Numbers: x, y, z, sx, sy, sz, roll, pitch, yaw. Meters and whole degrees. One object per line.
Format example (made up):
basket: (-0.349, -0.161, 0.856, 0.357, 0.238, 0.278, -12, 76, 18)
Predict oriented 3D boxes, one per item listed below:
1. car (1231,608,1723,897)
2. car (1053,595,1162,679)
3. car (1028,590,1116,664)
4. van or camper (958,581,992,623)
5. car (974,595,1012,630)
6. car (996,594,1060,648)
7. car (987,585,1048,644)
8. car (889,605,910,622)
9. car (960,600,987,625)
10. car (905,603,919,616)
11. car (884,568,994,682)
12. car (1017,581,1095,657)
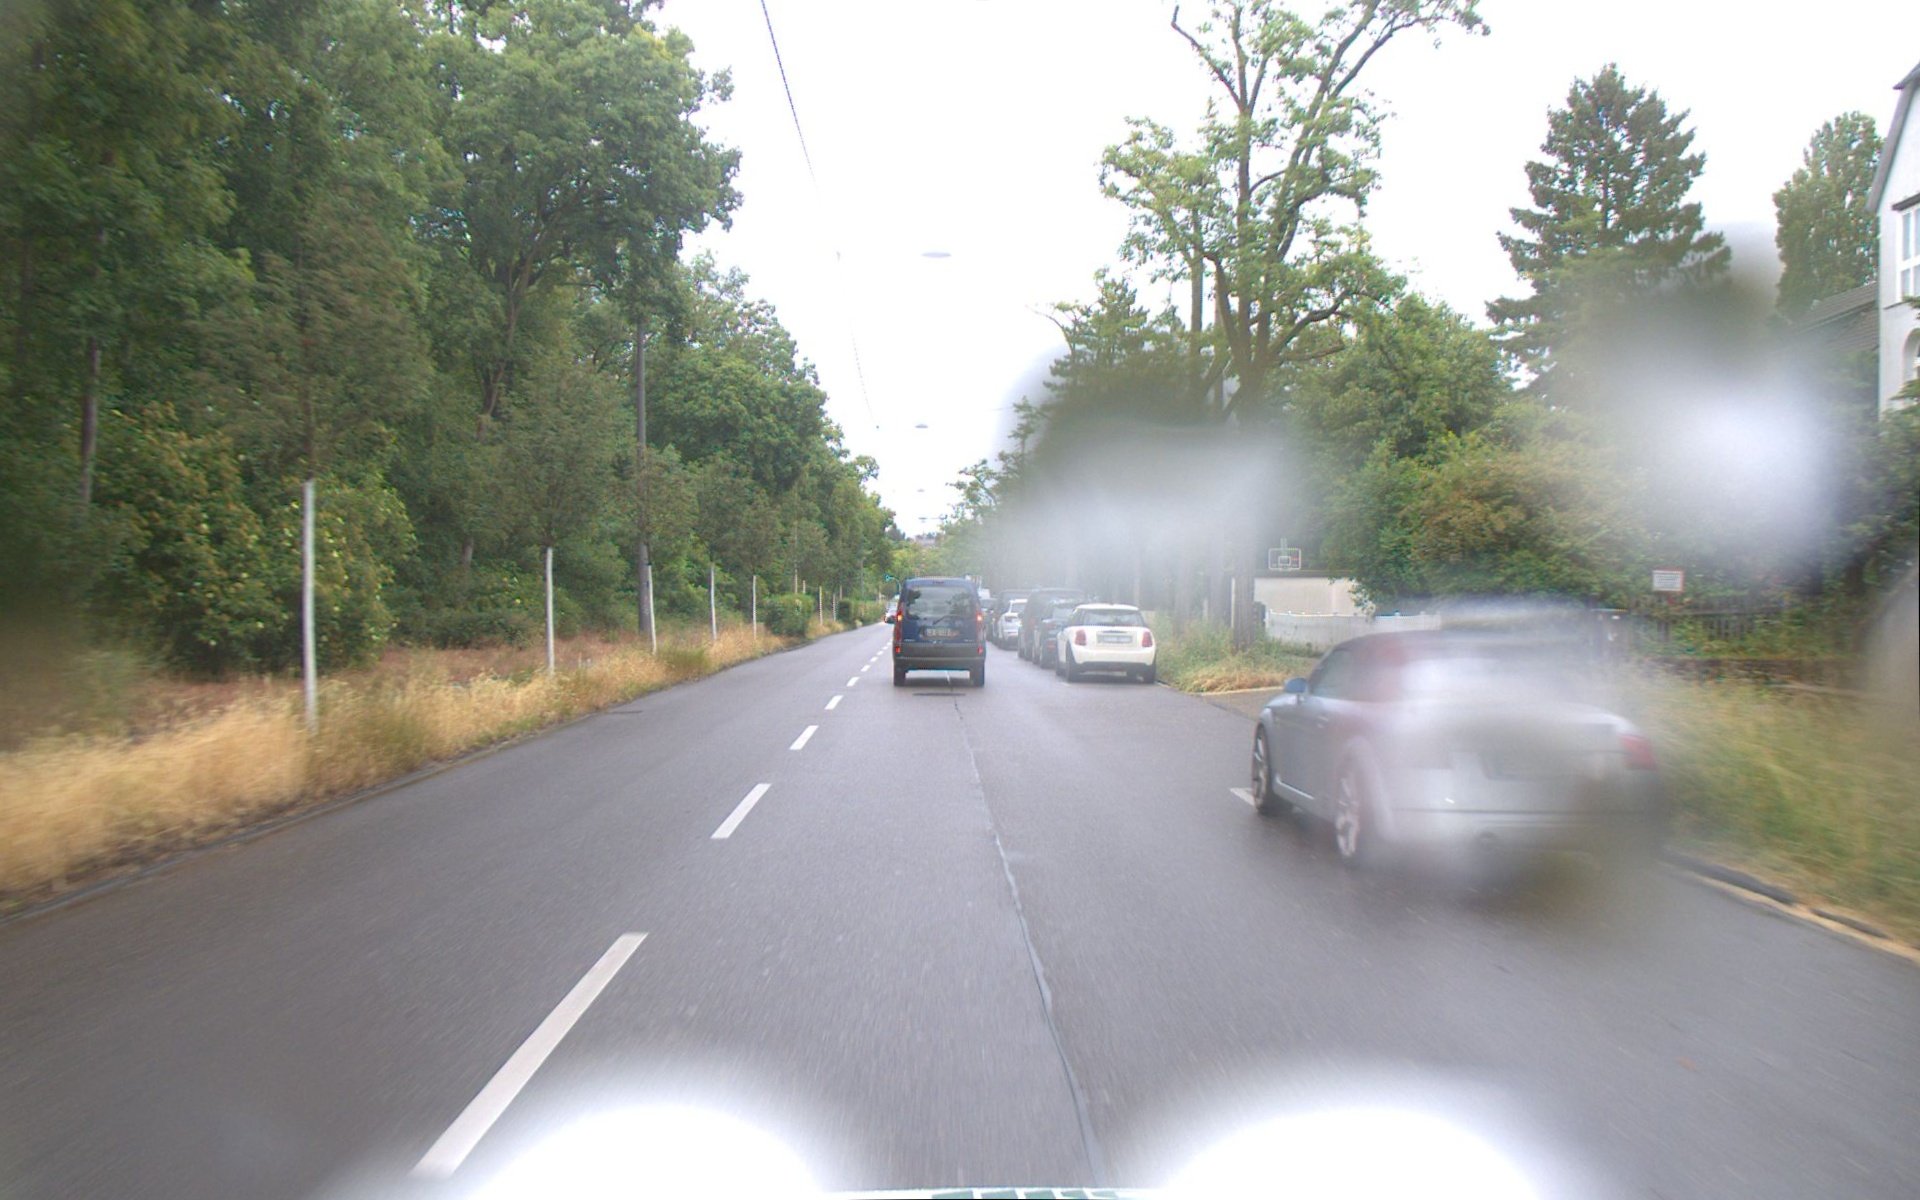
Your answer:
car: (3.023, 0.807, 10.602, 1.746, 1.419, 3.998, 1, 0, -2)
car: (2.810, 0.673, 32.265, 1.702, 1.490, 3.724, 1, 0, -1)
car: (2.507, 0.573, 37.922, 1.644, 1.583, 4.075, 1, 0, -1)
van or camper: (0.988, 0.116, 111.311, 2.036, 2.697, 5.344, 1, 0, -1)
car: (1.783, 0.660, 90.762, 1.778, 1.845, 4.280, 1, 0, -3)
car: (2.171, 0.641, 54.016, 1.768, 1.641, 4.285, 1, 0, -2)
car: (2.068, 0.491, 60.420, 1.953, 2.049, 4.887, 1, 0, -1)
car: (-5.563, 1.214, 152.098, 1.822, 1.506, 4.155, -1, 0, -1)
car: (0.849, 0.750, 103.501, 1.592, 1.489, 3.808, 1, 0, 2)
car: (-5.936, 1.238, 205.912, 1.747, 1.505, 3.966, -1, -1, -2)
car: (-0.432, 0.410, 29.325, 1.732, 1.862, 3.539, 1, 0, -4)
car: (2.480, 0.461, 43.436, 1.695, 1.879, 4.229, 1, 0, -1)
